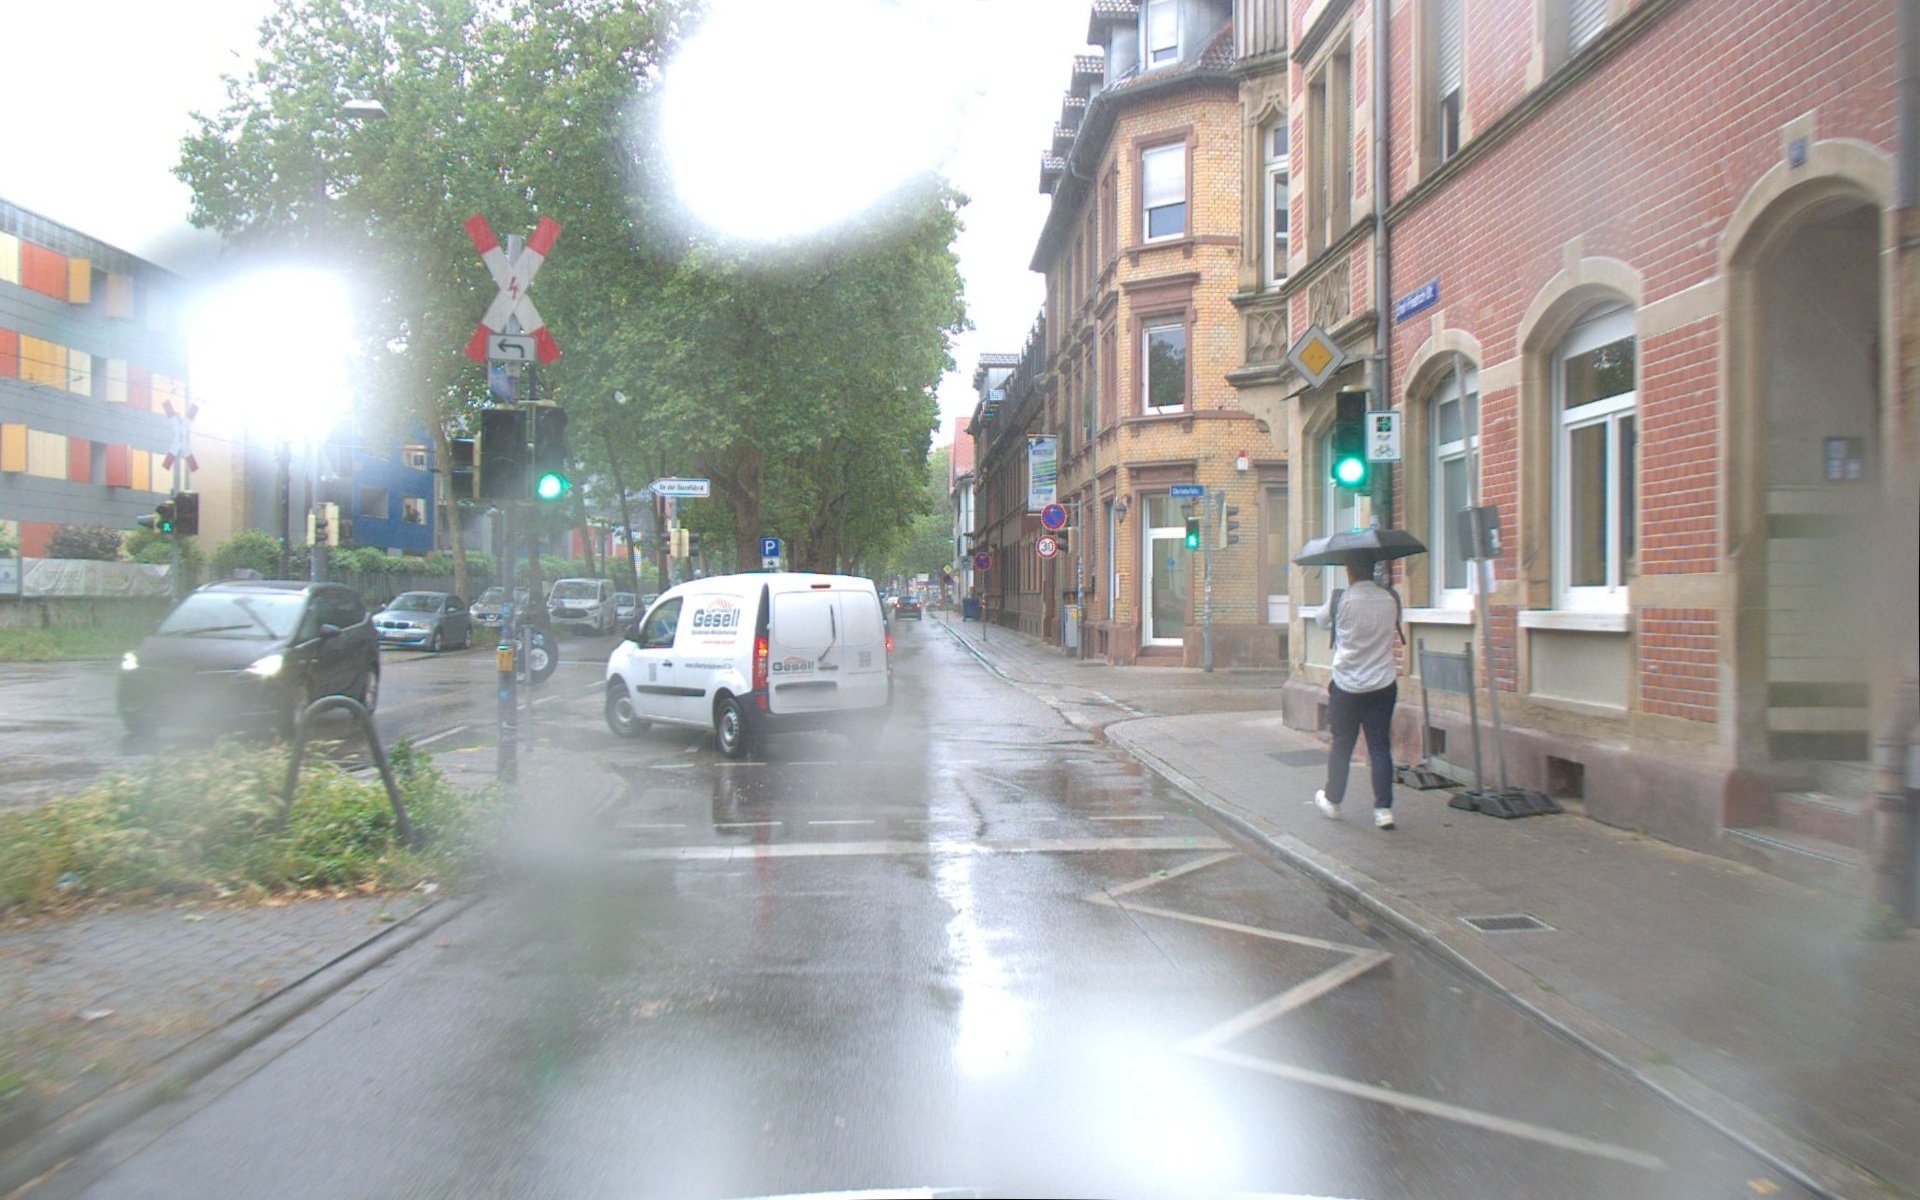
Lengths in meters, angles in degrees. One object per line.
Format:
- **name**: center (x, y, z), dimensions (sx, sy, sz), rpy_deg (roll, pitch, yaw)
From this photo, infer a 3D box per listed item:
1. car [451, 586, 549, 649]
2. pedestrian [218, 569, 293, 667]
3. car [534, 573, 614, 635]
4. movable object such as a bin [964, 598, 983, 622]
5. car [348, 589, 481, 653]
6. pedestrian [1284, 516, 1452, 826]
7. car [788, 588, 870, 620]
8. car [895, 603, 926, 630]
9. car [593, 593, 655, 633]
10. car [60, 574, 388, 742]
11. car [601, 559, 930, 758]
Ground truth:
- **car**: center (-13.485, 0.510, 48.706), dimensions (1.836, 1.758, 3.999), rpy_deg (1, 0, -1)
- **pedestrian**: center (-13.376, 0.346, 31.448), dimensions (0.917, 1.831, 1.205), rpy_deg (0, -1, -2)
- **car**: center (-13.788, 0.125, 59.353), dimensions (2.014, 2.032, 5.428), rpy_deg (2, 0, -5)
- **movable object such as a bin**: center (0.789, 0.593, 96.520), dimensions (1.001, 1.324, 1.366), rpy_deg (-3, 1, -2)
- **car**: center (-13.407, 0.483, 40.933), dimensions (1.865, 1.489, 4.387), rpy_deg (1, 0, -1)
- **pedestrian**: center (2.714, 0.459, 11.098), dimensions (0.769, 1.947, 0.929), rpy_deg (-3, -1, -2)
- **car**: center (-6.903, 0.205, 87.315), dimensions (3.975, 1.564, 1.832), rpy_deg (1, 0, 29)
- **car**: center (-3.242, 1.083, 108.678), dimensions (1.953, 1.668, 3.998), rpy_deg (1, 0, -2)
- **car**: center (-13.706, 0.527, 67.621), dimensions (1.866, 1.561, 4.213), rpy_deg (1, 0, -3)
- **car**: center (-8.065, 0.570, 18.679), dimensions (2.016, 1.647, 4.667), rpy_deg (1, 0, -6)
- **car**: center (-2.215, 0.543, 17.882), dimensions (1.915, 1.882, 4.018), rpy_deg (1, 0, -34)
